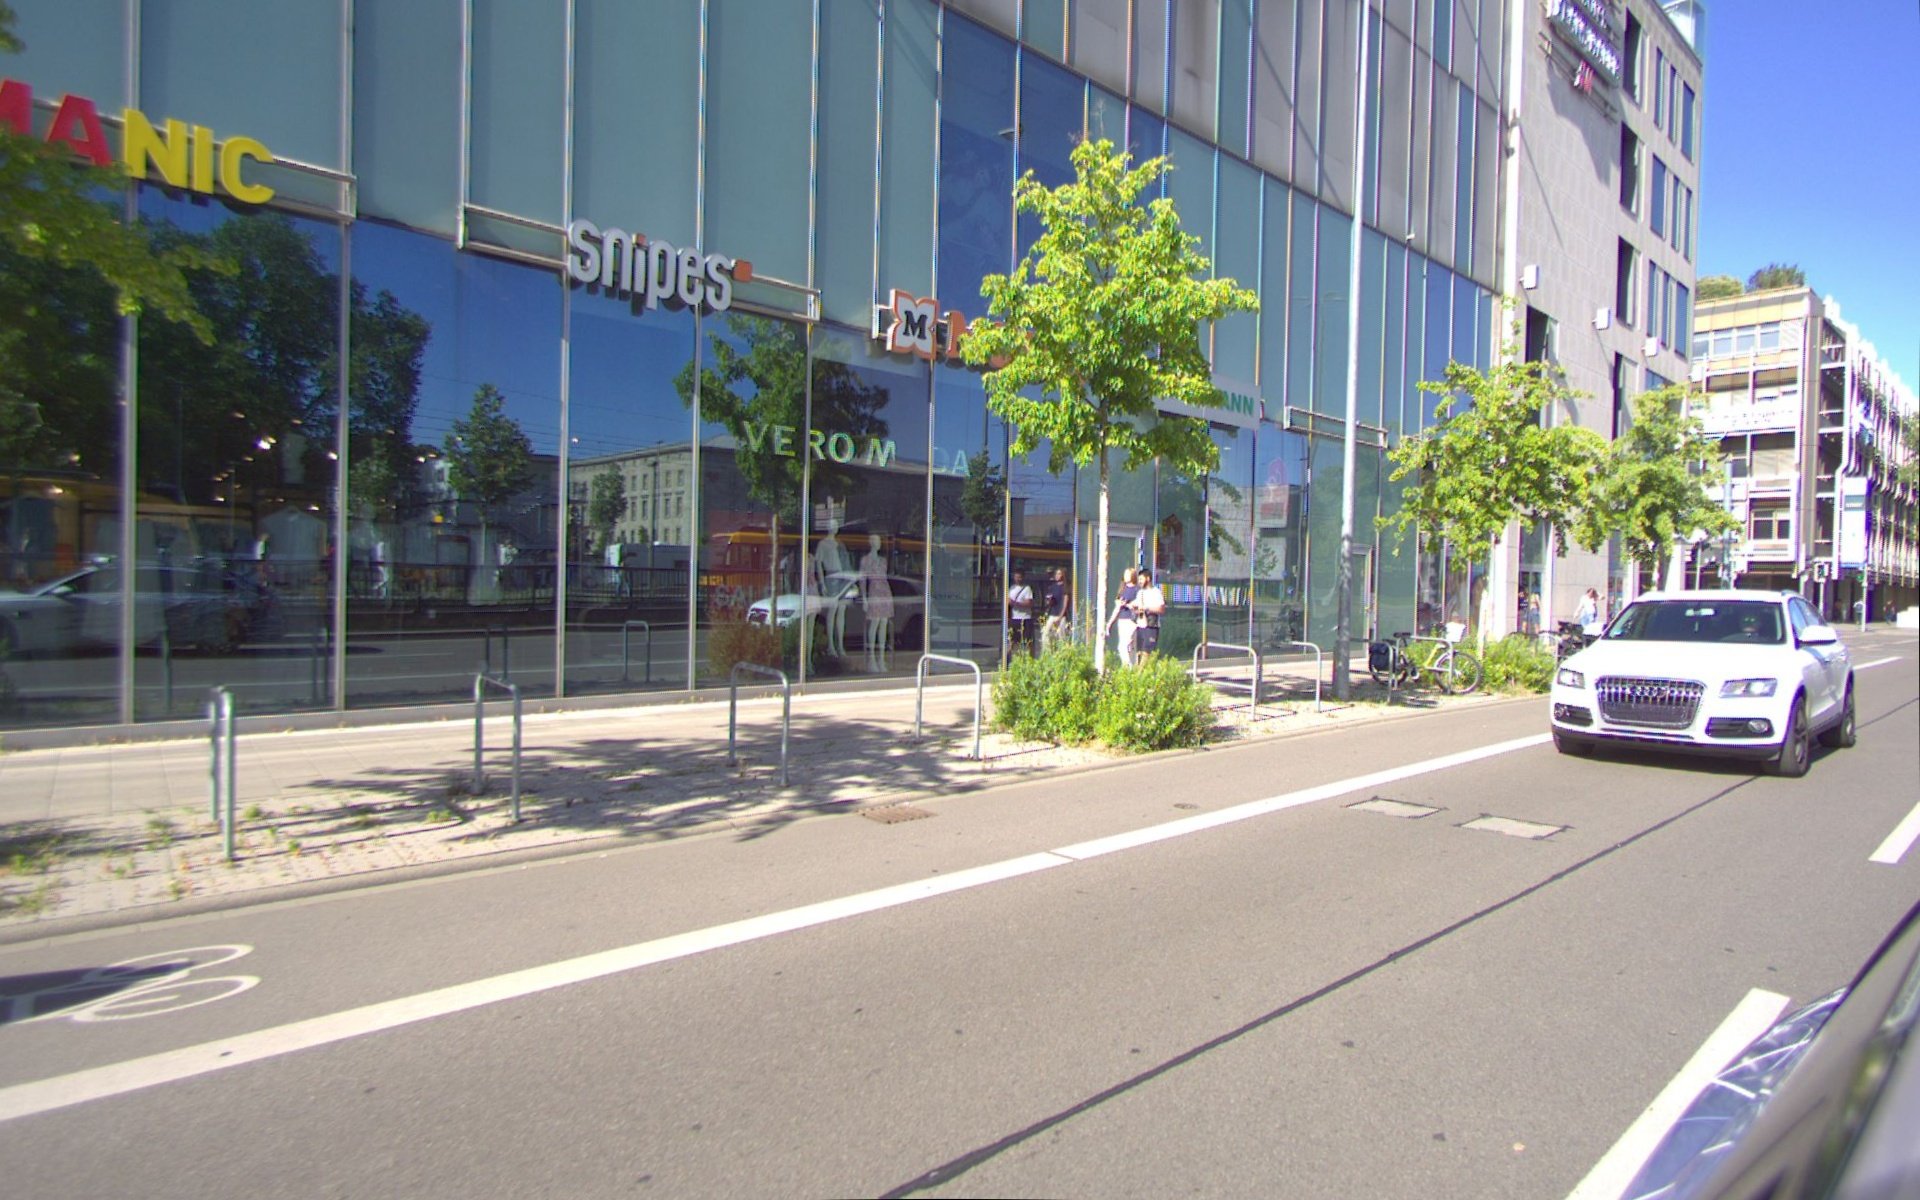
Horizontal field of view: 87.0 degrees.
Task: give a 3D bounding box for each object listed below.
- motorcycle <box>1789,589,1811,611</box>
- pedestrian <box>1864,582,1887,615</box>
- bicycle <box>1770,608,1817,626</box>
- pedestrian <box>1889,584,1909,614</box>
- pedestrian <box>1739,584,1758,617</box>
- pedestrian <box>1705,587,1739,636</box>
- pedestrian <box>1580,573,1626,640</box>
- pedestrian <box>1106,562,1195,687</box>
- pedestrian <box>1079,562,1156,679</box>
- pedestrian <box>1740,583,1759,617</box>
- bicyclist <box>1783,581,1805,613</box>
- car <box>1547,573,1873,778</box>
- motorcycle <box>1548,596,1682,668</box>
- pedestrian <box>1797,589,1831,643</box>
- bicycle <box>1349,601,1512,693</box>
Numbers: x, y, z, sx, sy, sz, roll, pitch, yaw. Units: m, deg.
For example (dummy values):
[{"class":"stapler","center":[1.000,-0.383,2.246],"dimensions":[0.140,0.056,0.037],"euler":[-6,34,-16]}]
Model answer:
[{"class":"motorcycle","center":[58.559,0.000,70.538],"dimensions":[2.084,1.459,0.825],"euler":[0,1,-40]},{"class":"pedestrian","center":[56.753,-0.086,62.726],"dimensions":[0.945,2.039,1.064],"euler":[2,1,39]},{"class":"bicycle","center":[45.392,0.924,55.124],"dimensions":[0.699,1.006,1.919],"euler":[1,-1,-43]},{"class":"pedestrian","center":[63.872,-0.089,68.876],"dimensions":[0.946,2.039,1.063],"euler":[1,1,42]},{"class":"pedestrian","center":[40.130,0.009,51.481],"dimensions":[0.659,1.632,0.519],"euler":[4,3,41]},{"class":"pedestrian","center":[25.958,0.379,34.482],"dimensions":[0.736,1.628,0.725],"euler":[2,1,-39]},{"class":"pedestrian","center":[18.129,0.168,28.528],"dimensions":[1.047,1.823,0.729],"euler":[0,3,-40]},{"class":"pedestrian","center":[2.733,0.328,14.549],"dimensions":[0.885,1.678,0.822],"euler":[0,4,-45]},{"class":"pedestrian","center":[2.383,0.291,15.306],"dimensions":[0.885,1.678,0.707],"euler":[0,3,-45]},{"class":"pedestrian","center":[39.753,0.000,50.965],"dimensions":[0.659,1.632,0.519],"euler":[4,3,41]},{"class":"bicyclist","center":[45.435,-0.170,55.110],"dimensions":[0.700,1.709,0.850],"euler":[1,-2,-45]},{"class":"car","center":[7.674,0.591,10.187],"dimensions":[4.336,1.634,1.822],"euler":[0,0,-42]},{"class":"motorcycle","center":[13.909,0.643,21.547],"dimensions":[0.886,1.340,2.196],"euler":[0,2,-36]},{"class":"pedestrian","center":[28.316,0.525,33.554],"dimensions":[0.686,1.723,0.658],"euler":[1,3,-42]},{"class":"bicycle","center":[7.319,0.685,15.853],"dimensions":[0.932,1.220,2.094],"euler":[0,3,-34]}]
